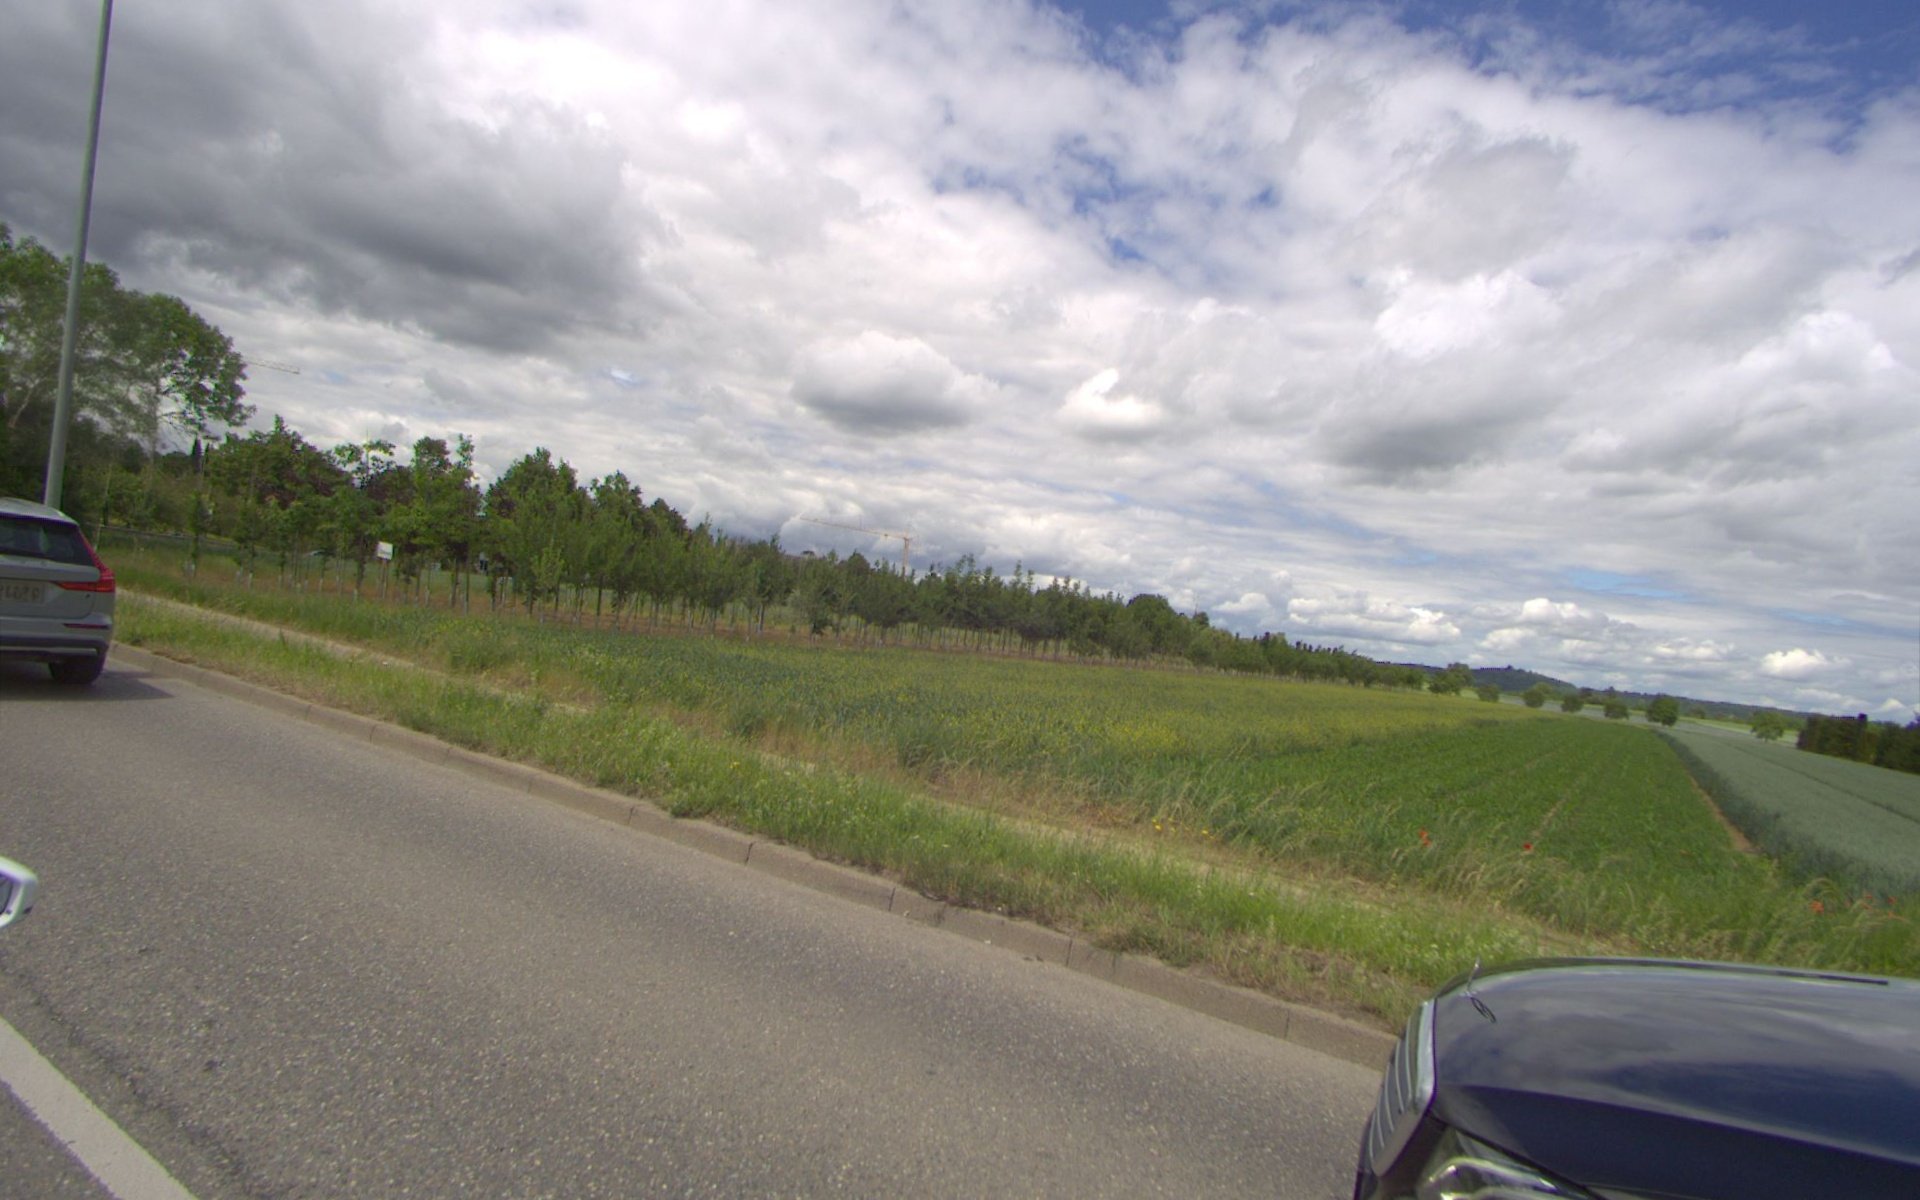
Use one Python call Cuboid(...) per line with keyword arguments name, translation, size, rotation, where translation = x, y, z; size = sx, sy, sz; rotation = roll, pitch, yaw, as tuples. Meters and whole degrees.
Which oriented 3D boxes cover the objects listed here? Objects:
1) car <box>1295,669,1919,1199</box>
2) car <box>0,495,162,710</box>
Cuboid(name="car", translation=(3.187, 1.173, 1.081), size=(5.113, 1.458, 1.876), rotation=(7, -1, 31))
Cuboid(name="car", translation=(-8.776, -0.198, 8.355), size=(4.372, 1.536, 1.866), rotation=(7, 0, 31))
